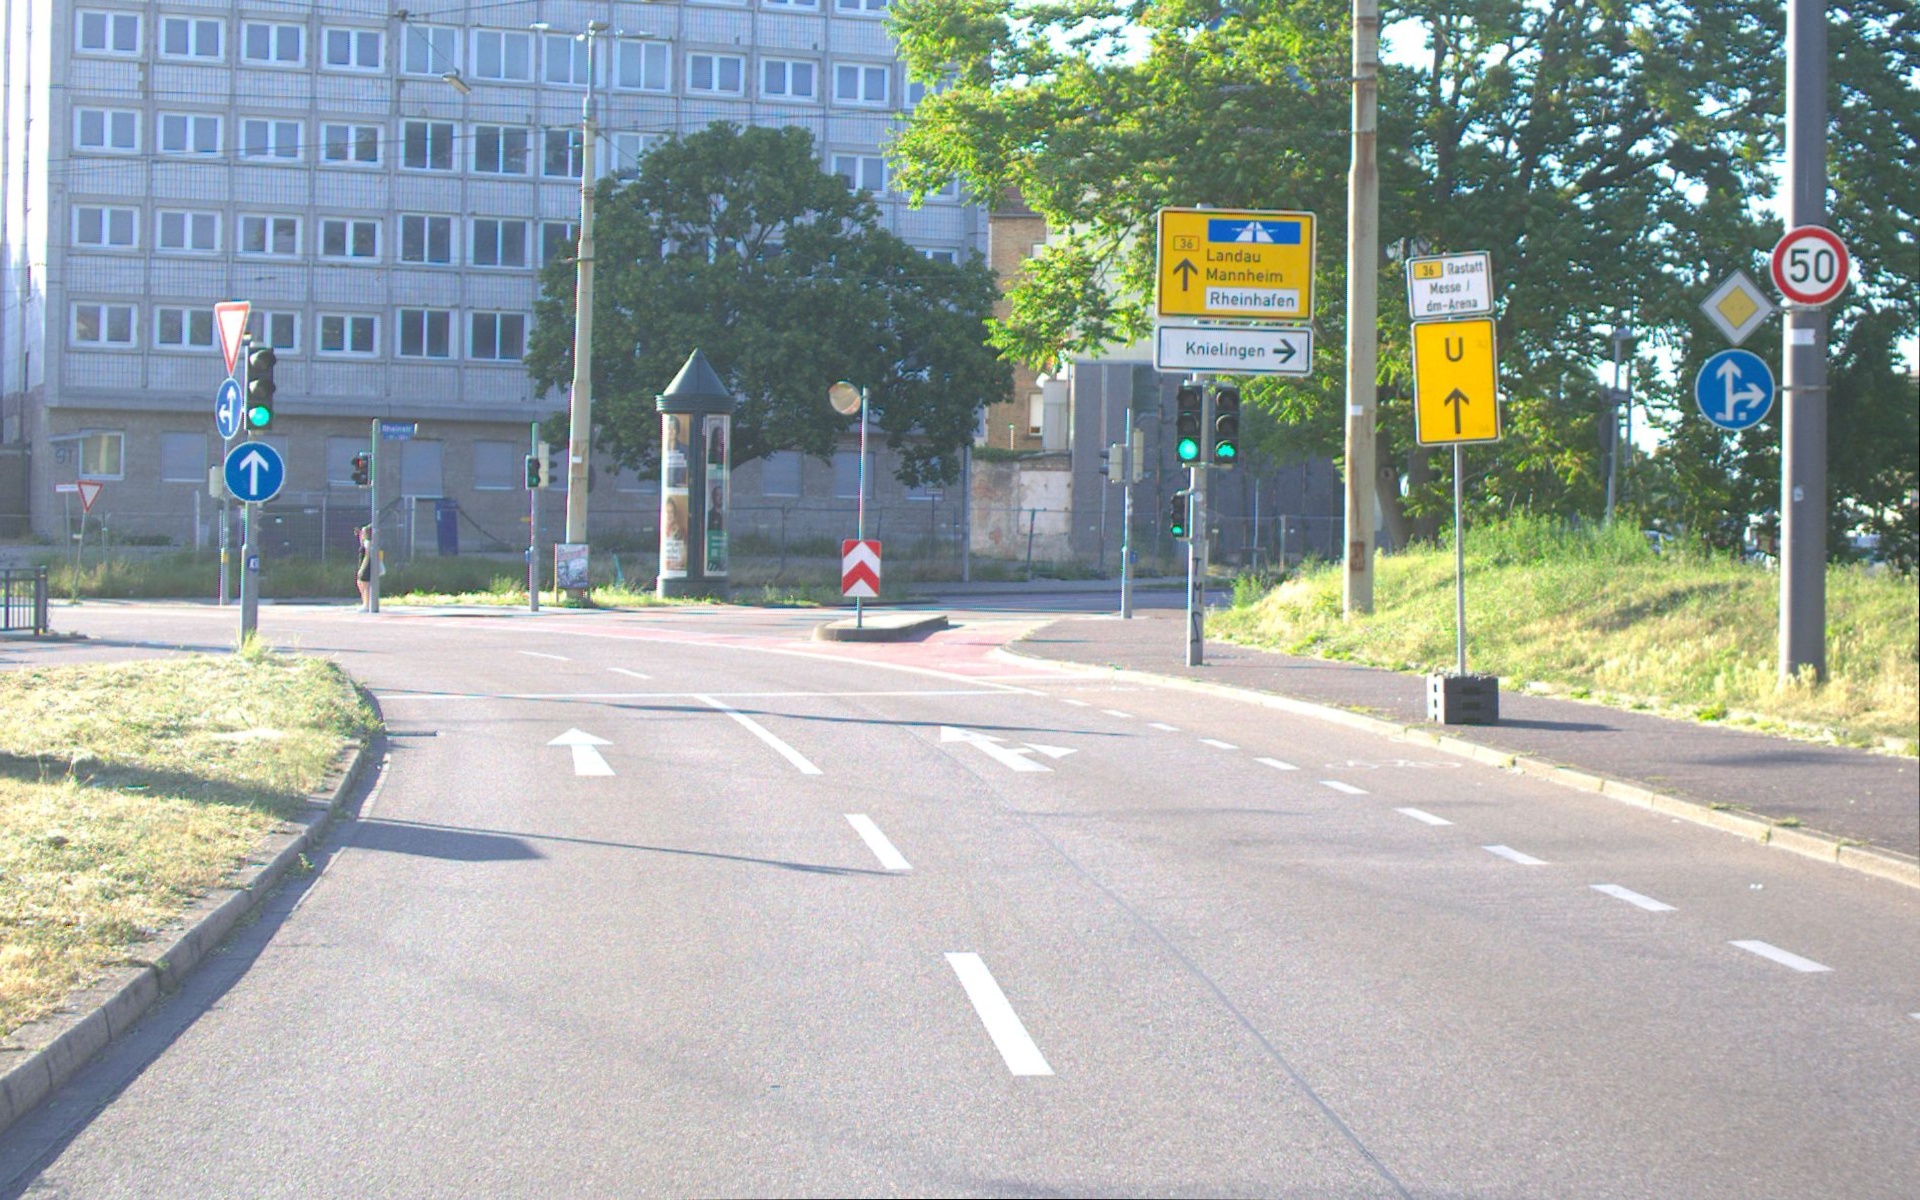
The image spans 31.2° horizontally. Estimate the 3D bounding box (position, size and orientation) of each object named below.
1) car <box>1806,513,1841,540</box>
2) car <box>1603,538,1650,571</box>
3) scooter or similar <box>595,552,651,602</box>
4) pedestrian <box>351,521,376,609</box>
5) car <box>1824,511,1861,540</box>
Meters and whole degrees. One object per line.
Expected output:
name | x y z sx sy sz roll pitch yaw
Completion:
car | 50.642 -4.309 201.541 1.860 1.538 3.997 0 1 16
car | 30.562 -2.100 157.584 1.875 1.453 3.785 0 2 15
scooter or similar | -7.994 -0.548 81.560 1.296 1.166 0.327 0 1 -18
pedestrian | -10.973 -0.644 63.251 0.436 1.607 0.630 0 1 -9
car | 48.140 -4.061 187.537 1.860 1.538 3.876 0 1 16
